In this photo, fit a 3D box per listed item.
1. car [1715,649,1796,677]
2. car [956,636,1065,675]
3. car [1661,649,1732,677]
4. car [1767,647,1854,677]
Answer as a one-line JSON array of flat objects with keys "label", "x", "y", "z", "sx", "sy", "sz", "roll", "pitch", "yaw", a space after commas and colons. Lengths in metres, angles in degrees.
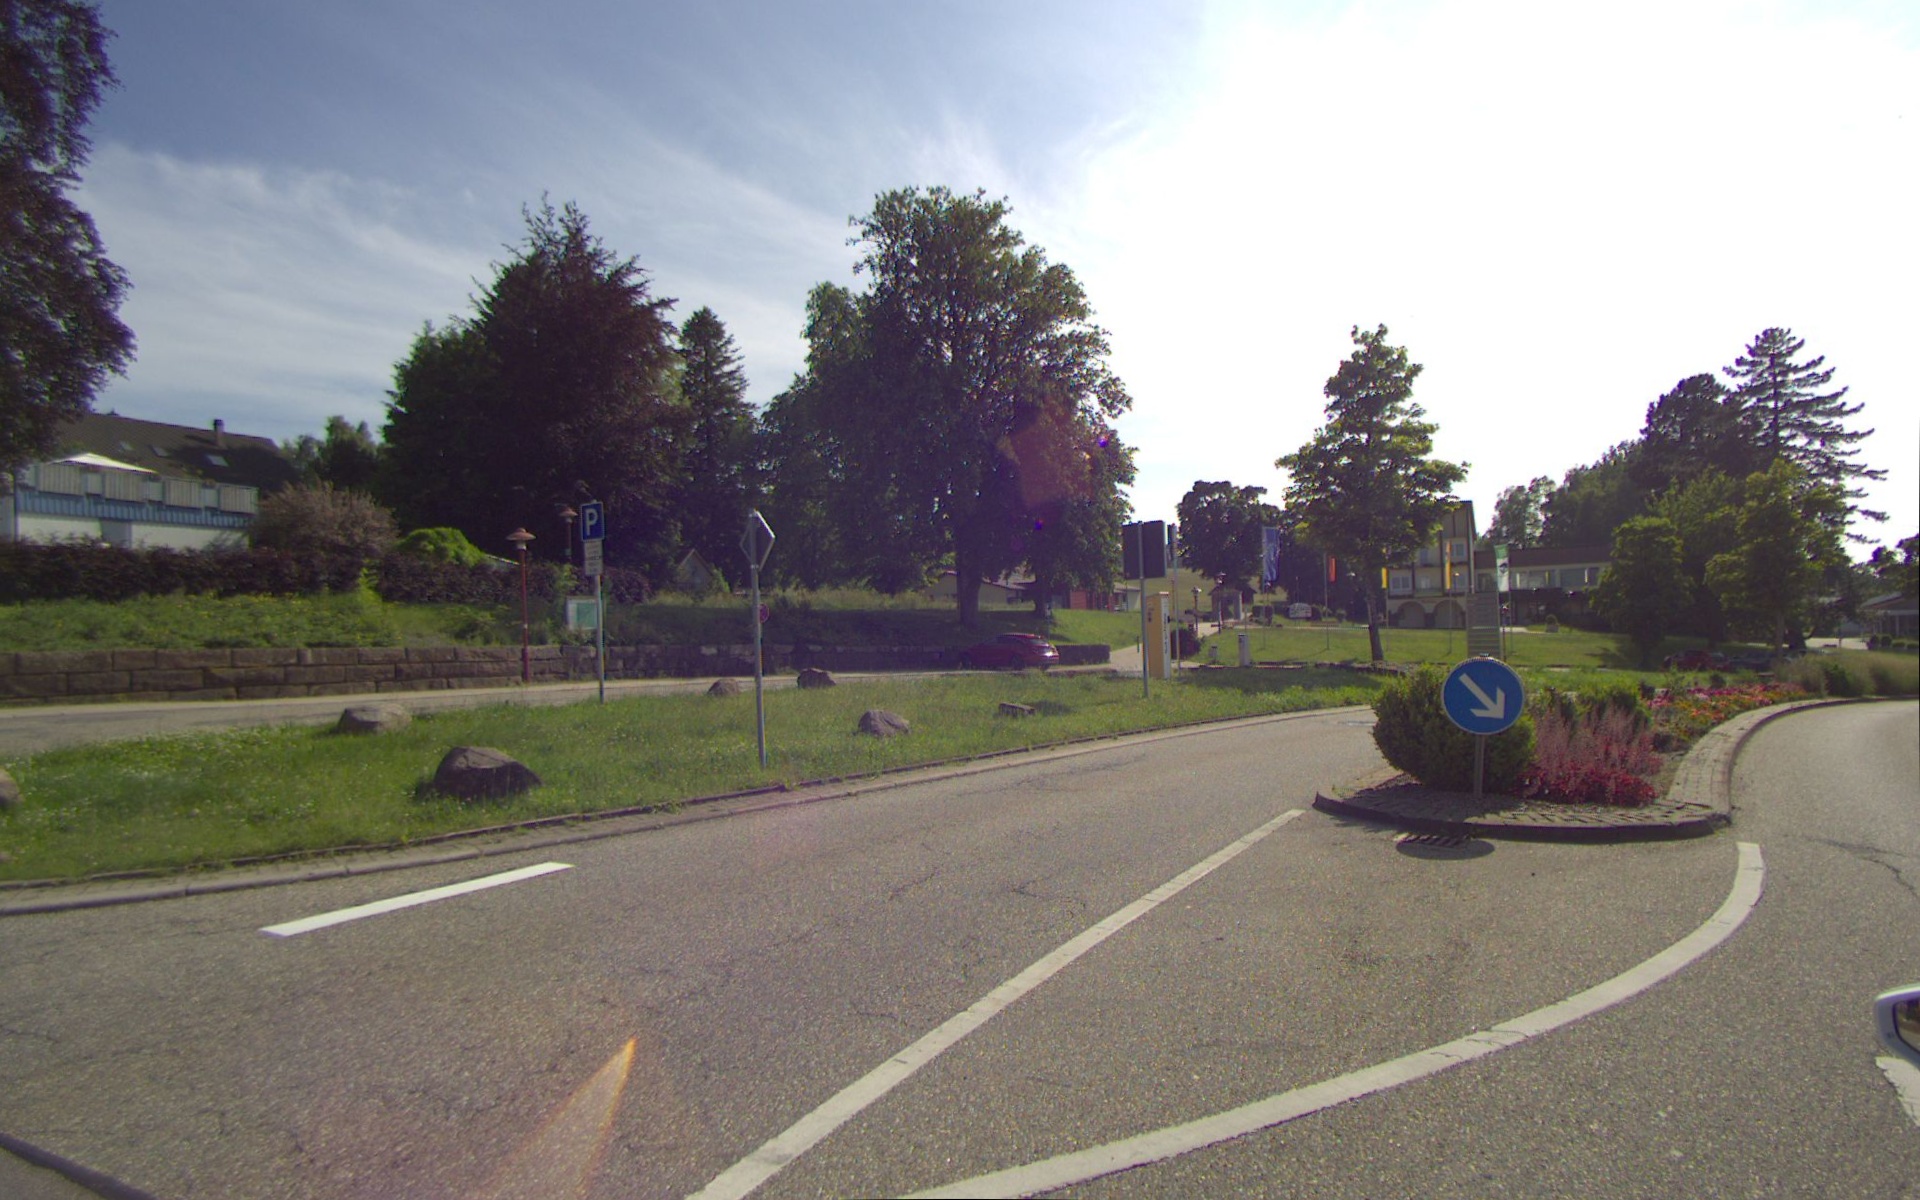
[{"label": "car", "x": 48.598, "y": 3.837, "z": 61.464, "sx": 1.743, "sy": 1.452, "sz": 3.709, "roll": 2, "pitch": -1, "yaw": -8}, {"label": "car", "x": 1.980, "y": 2.154, "z": 40.040, "sx": 4.180, "sy": 1.417, "sz": 1.813, "roll": -1, "pitch": -2, "yaw": 44}, {"label": "car", "x": 45.085, "y": 3.854, "z": 61.565, "sx": 1.744, "sy": 1.490, "sz": 3.203, "roll": 2, "pitch": -1, "yaw": -9}, {"label": "car", "x": 52.535, "y": 3.795, "z": 62.150, "sx": 1.744, "sy": 1.630, "sz": 3.936, "roll": 2, "pitch": -1, "yaw": -8}]
